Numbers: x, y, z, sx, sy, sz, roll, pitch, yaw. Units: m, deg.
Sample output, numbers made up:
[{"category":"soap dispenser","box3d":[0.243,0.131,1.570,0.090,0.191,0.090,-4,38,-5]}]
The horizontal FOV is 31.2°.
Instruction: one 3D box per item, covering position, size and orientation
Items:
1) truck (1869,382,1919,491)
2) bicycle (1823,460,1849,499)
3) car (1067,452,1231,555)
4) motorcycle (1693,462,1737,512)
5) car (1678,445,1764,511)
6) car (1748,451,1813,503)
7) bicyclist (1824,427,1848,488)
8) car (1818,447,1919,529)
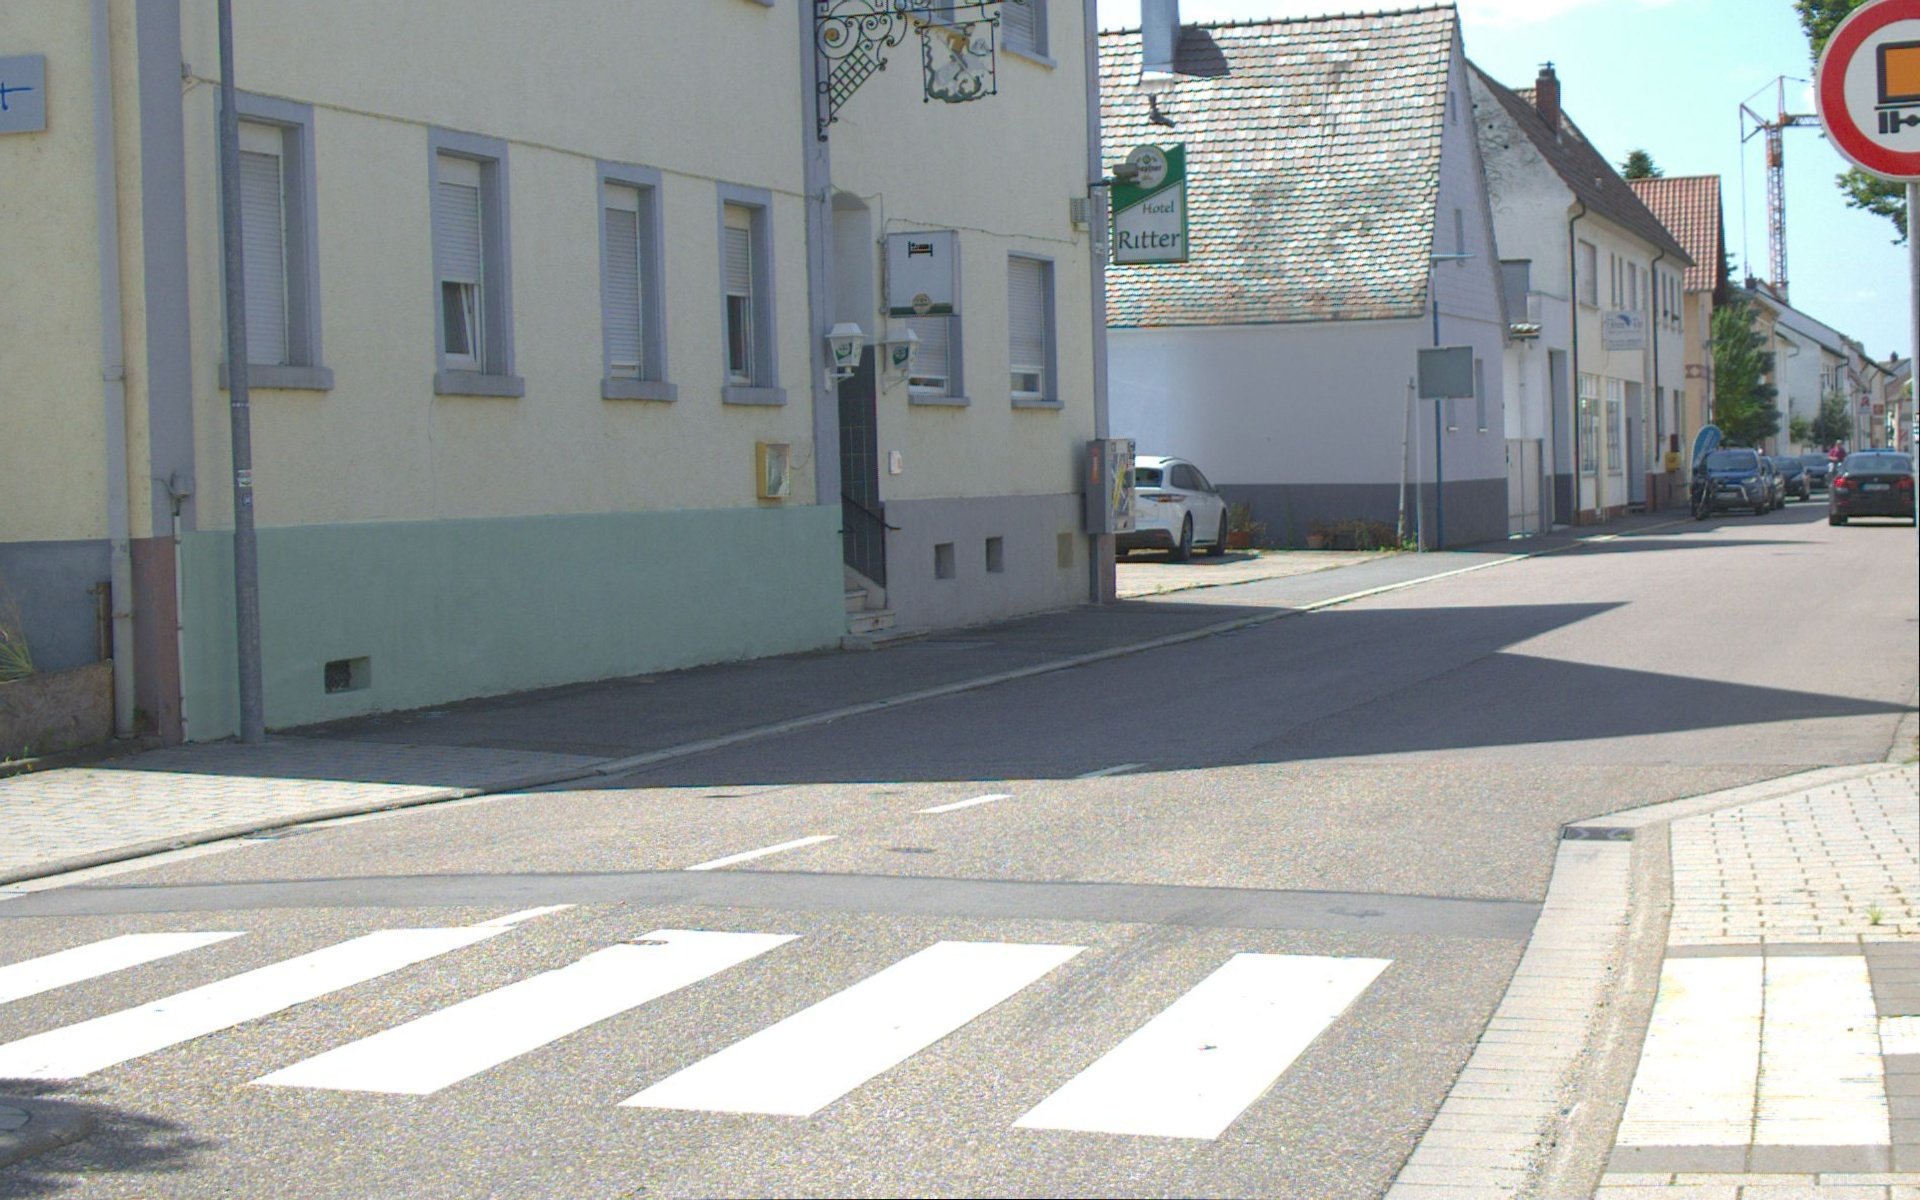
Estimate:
[{"category":"truck","box3d":[38.415,-6.506,137.893,3.148,4.235,9.294,1,2,18]},{"category":"bicycle","box3d":[29.494,-4.066,115.722,0.751,1.303,2.683,1,2,16]},{"category":"car","box3d":[3.019,-1.550,54.133,1.721,1.550,4.196,1,3,15]},{"category":"motorcycle","box3d":[17.956,-2.703,81.742,0.847,1.165,2.467,1,2,16]},{"category":"car","box3d":[18.947,-3.051,85.451,1.810,1.583,3.997,0,2,16]},{"category":"car","box3d":[26.091,-3.919,109.217,1.810,1.583,3.997,0,2,16]},{"category":"bicyclist","box3d":[29.467,-4.791,115.663,0.740,2.052,0.844,1,2,16]},{"category":"car","box3d":[18.326,-2.269,68.845,1.904,1.558,4.473,0,3,18]}]
